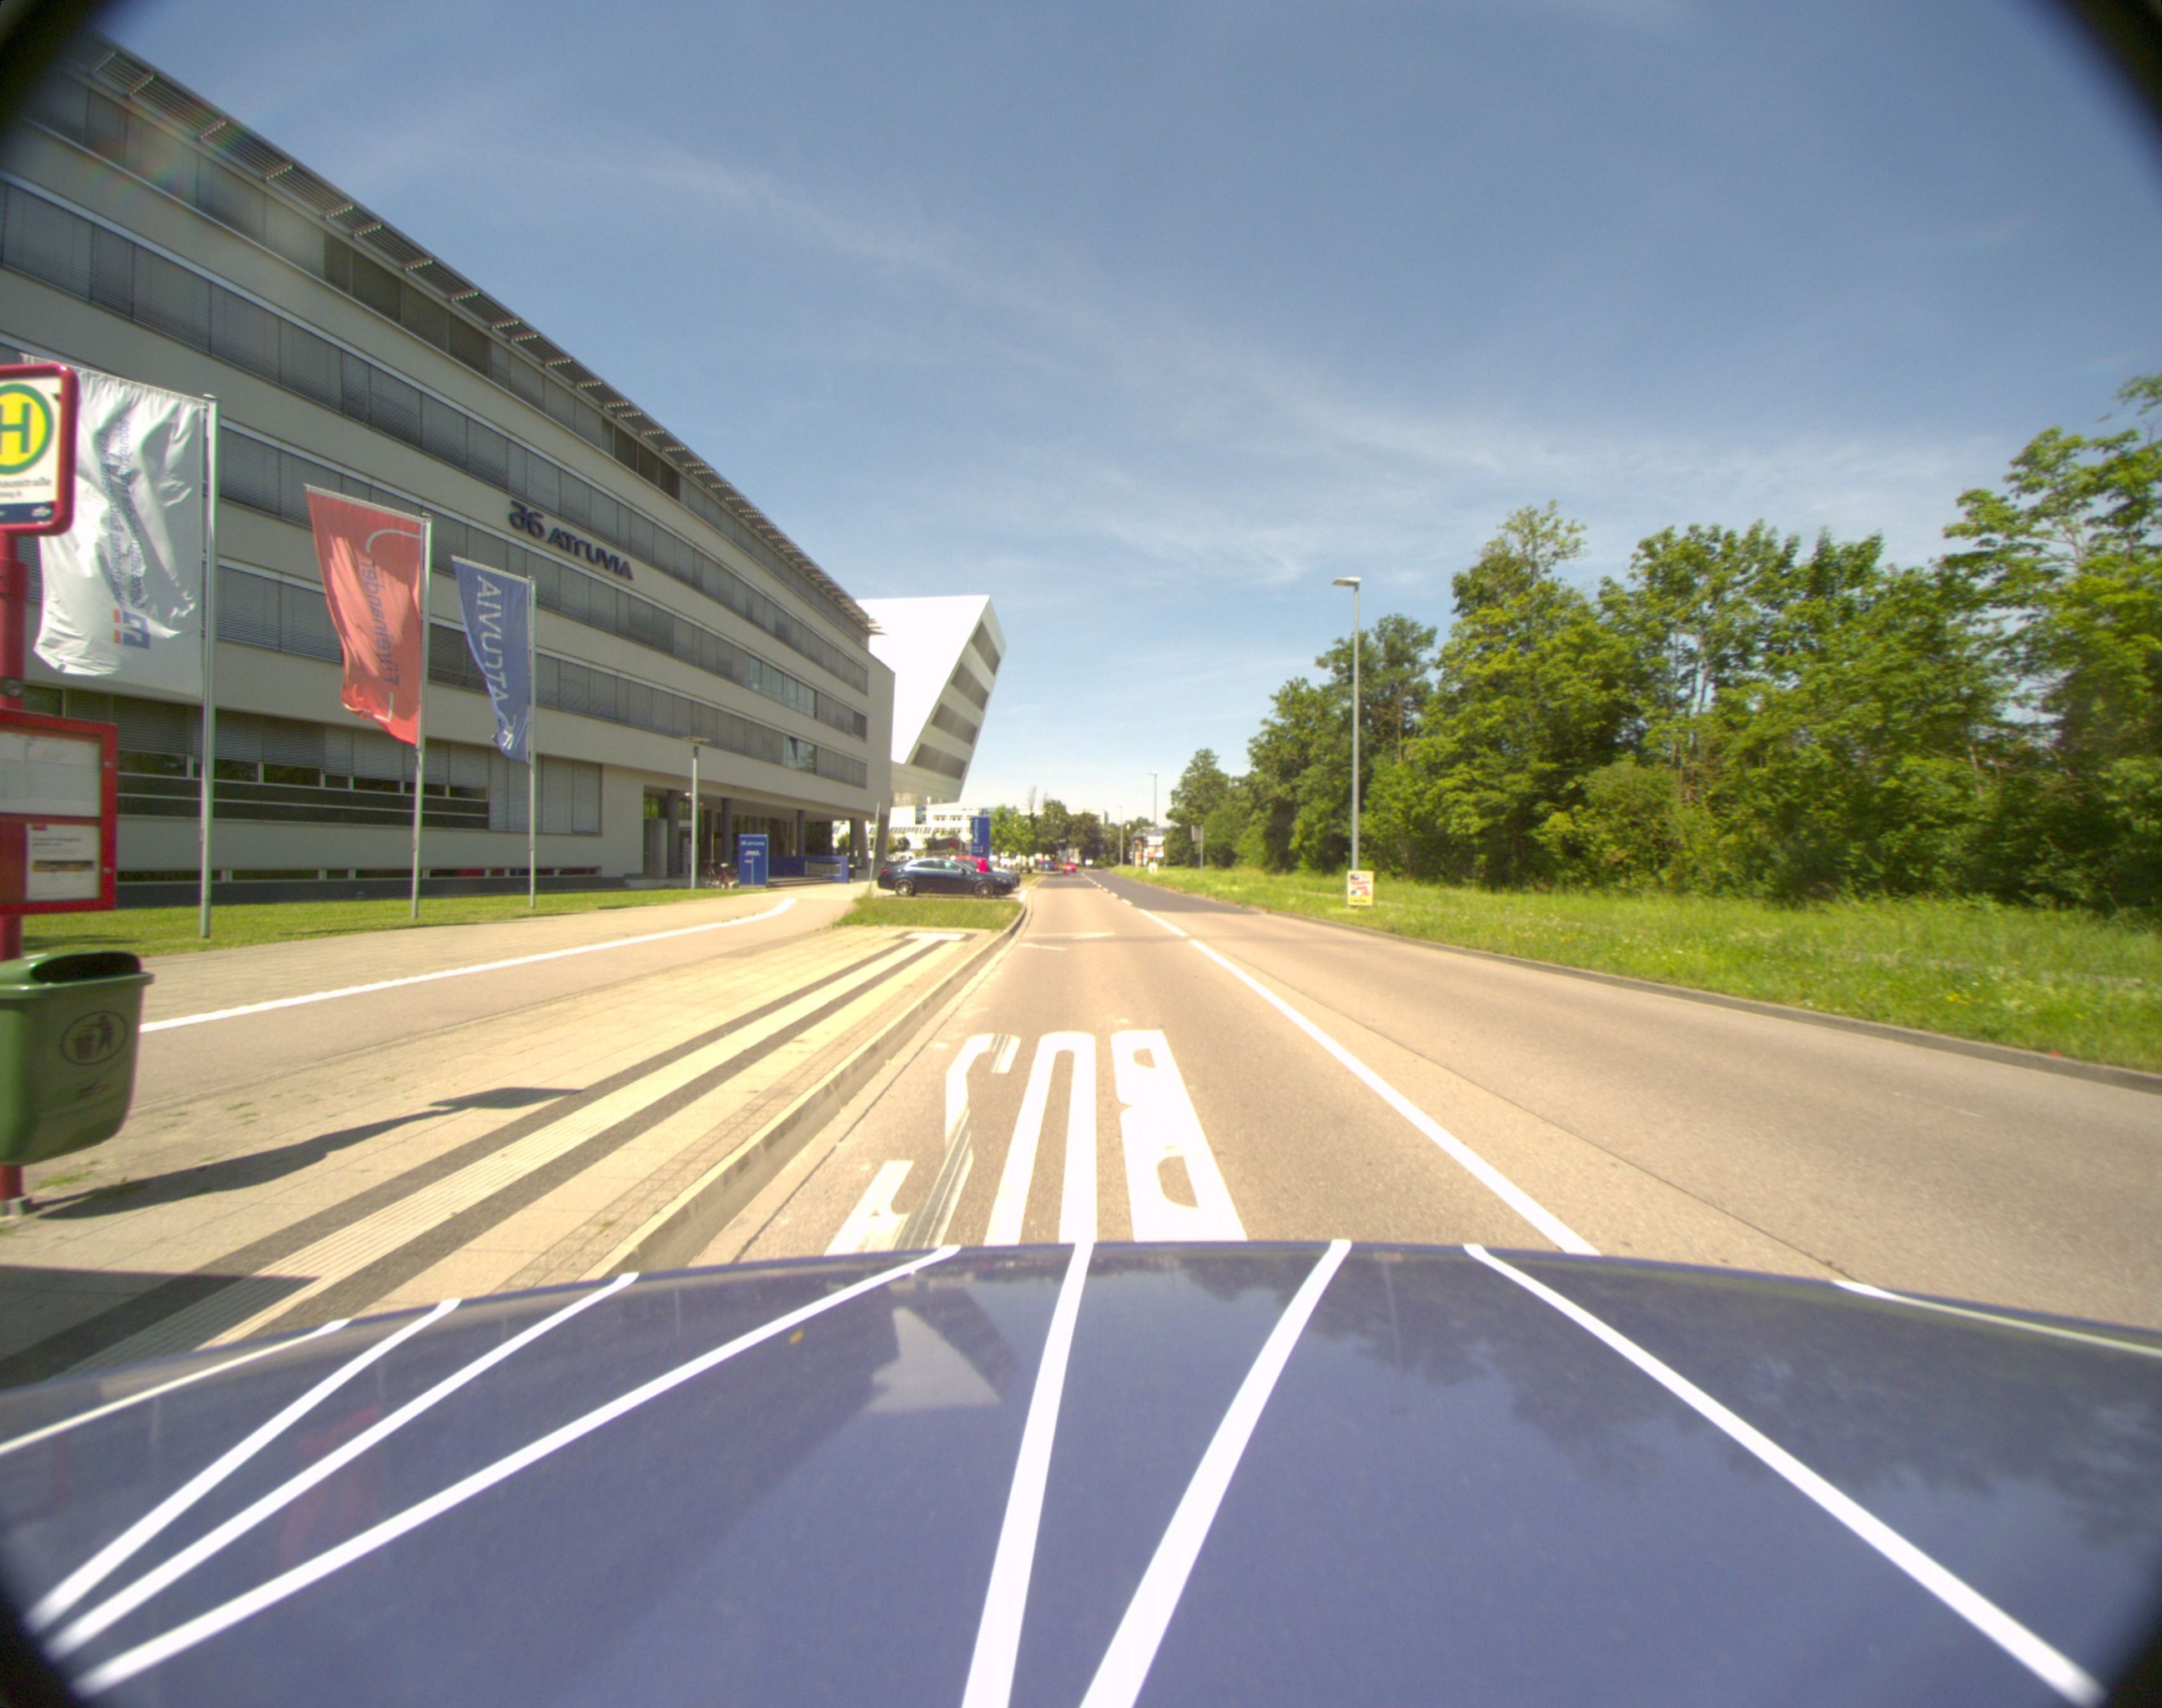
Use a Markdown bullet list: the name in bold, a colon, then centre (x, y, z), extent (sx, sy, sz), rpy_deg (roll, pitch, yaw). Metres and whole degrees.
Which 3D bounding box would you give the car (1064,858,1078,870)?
- **car**: centre (-1.318, 1.347, 98.923), extent (1.662, 1.494, 3.357), rpy_deg (-1, 0, 1)

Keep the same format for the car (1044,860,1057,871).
- **car**: centre (-4.324, 1.604, 109.364), extent (1.802, 1.490, 3.999), rpy_deg (-1, 0, -2)

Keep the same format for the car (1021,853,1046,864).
- **car**: centre (-8.416, 0.746, 133.909), extent (4.204, 1.964, 1.704), rpy_deg (-1, 0, 5)

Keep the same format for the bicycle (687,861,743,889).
- **bicycle**: centre (-13.790, 0.789, 28.634), extent (1.881, 1.054, 0.534), rpy_deg (-1, 1, 3)

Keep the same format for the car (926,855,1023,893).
- **car**: centre (-4.454, 0.808, 32.065), extent (3.817, 1.477, 1.655), rpy_deg (1, 0, 1)

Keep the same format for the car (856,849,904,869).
- **car**: centre (-25.884, 0.608, 97.932), extent (5.581, 2.445, 2.001), rpy_deg (-1, 0, 5)

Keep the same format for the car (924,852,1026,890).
- **car**: centre (-4.748, 0.757, 34.479), extent (4.332, 1.554, 1.786), rpy_deg (2, 0, 0)

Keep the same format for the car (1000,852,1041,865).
- **car**: centre (-10.190, 0.780, 128.134), extent (6.492, 2.137, 2.165), rpy_deg (-1, 0, 5)

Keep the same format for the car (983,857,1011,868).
- **car**: centre (-12.227, 1.228, 111.143), extent (3.822, 1.664, 1.741), rpy_deg (-1, 0, 2)

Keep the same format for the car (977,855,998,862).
- **car**: centre (-20.673, 0.972, 168.613), extent (4.321, 1.647, 1.704), rpy_deg (-1, 0, 5)

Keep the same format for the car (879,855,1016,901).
- **car**: centre (-4.700, 0.835, 27.224), extent (4.580, 1.423, 1.827), rpy_deg (2, 0, -2)

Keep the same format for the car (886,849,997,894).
- **car**: centre (-5.416, 0.671, 29.916), extent (3.997, 1.645, 1.839), rpy_deg (1, 0, 1)

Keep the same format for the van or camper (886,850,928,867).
- **van or camper**: centre (-25.292, 0.708, 110.749), extent (5.699, 2.376, 1.704), rpy_deg (-1, 0, 5)
